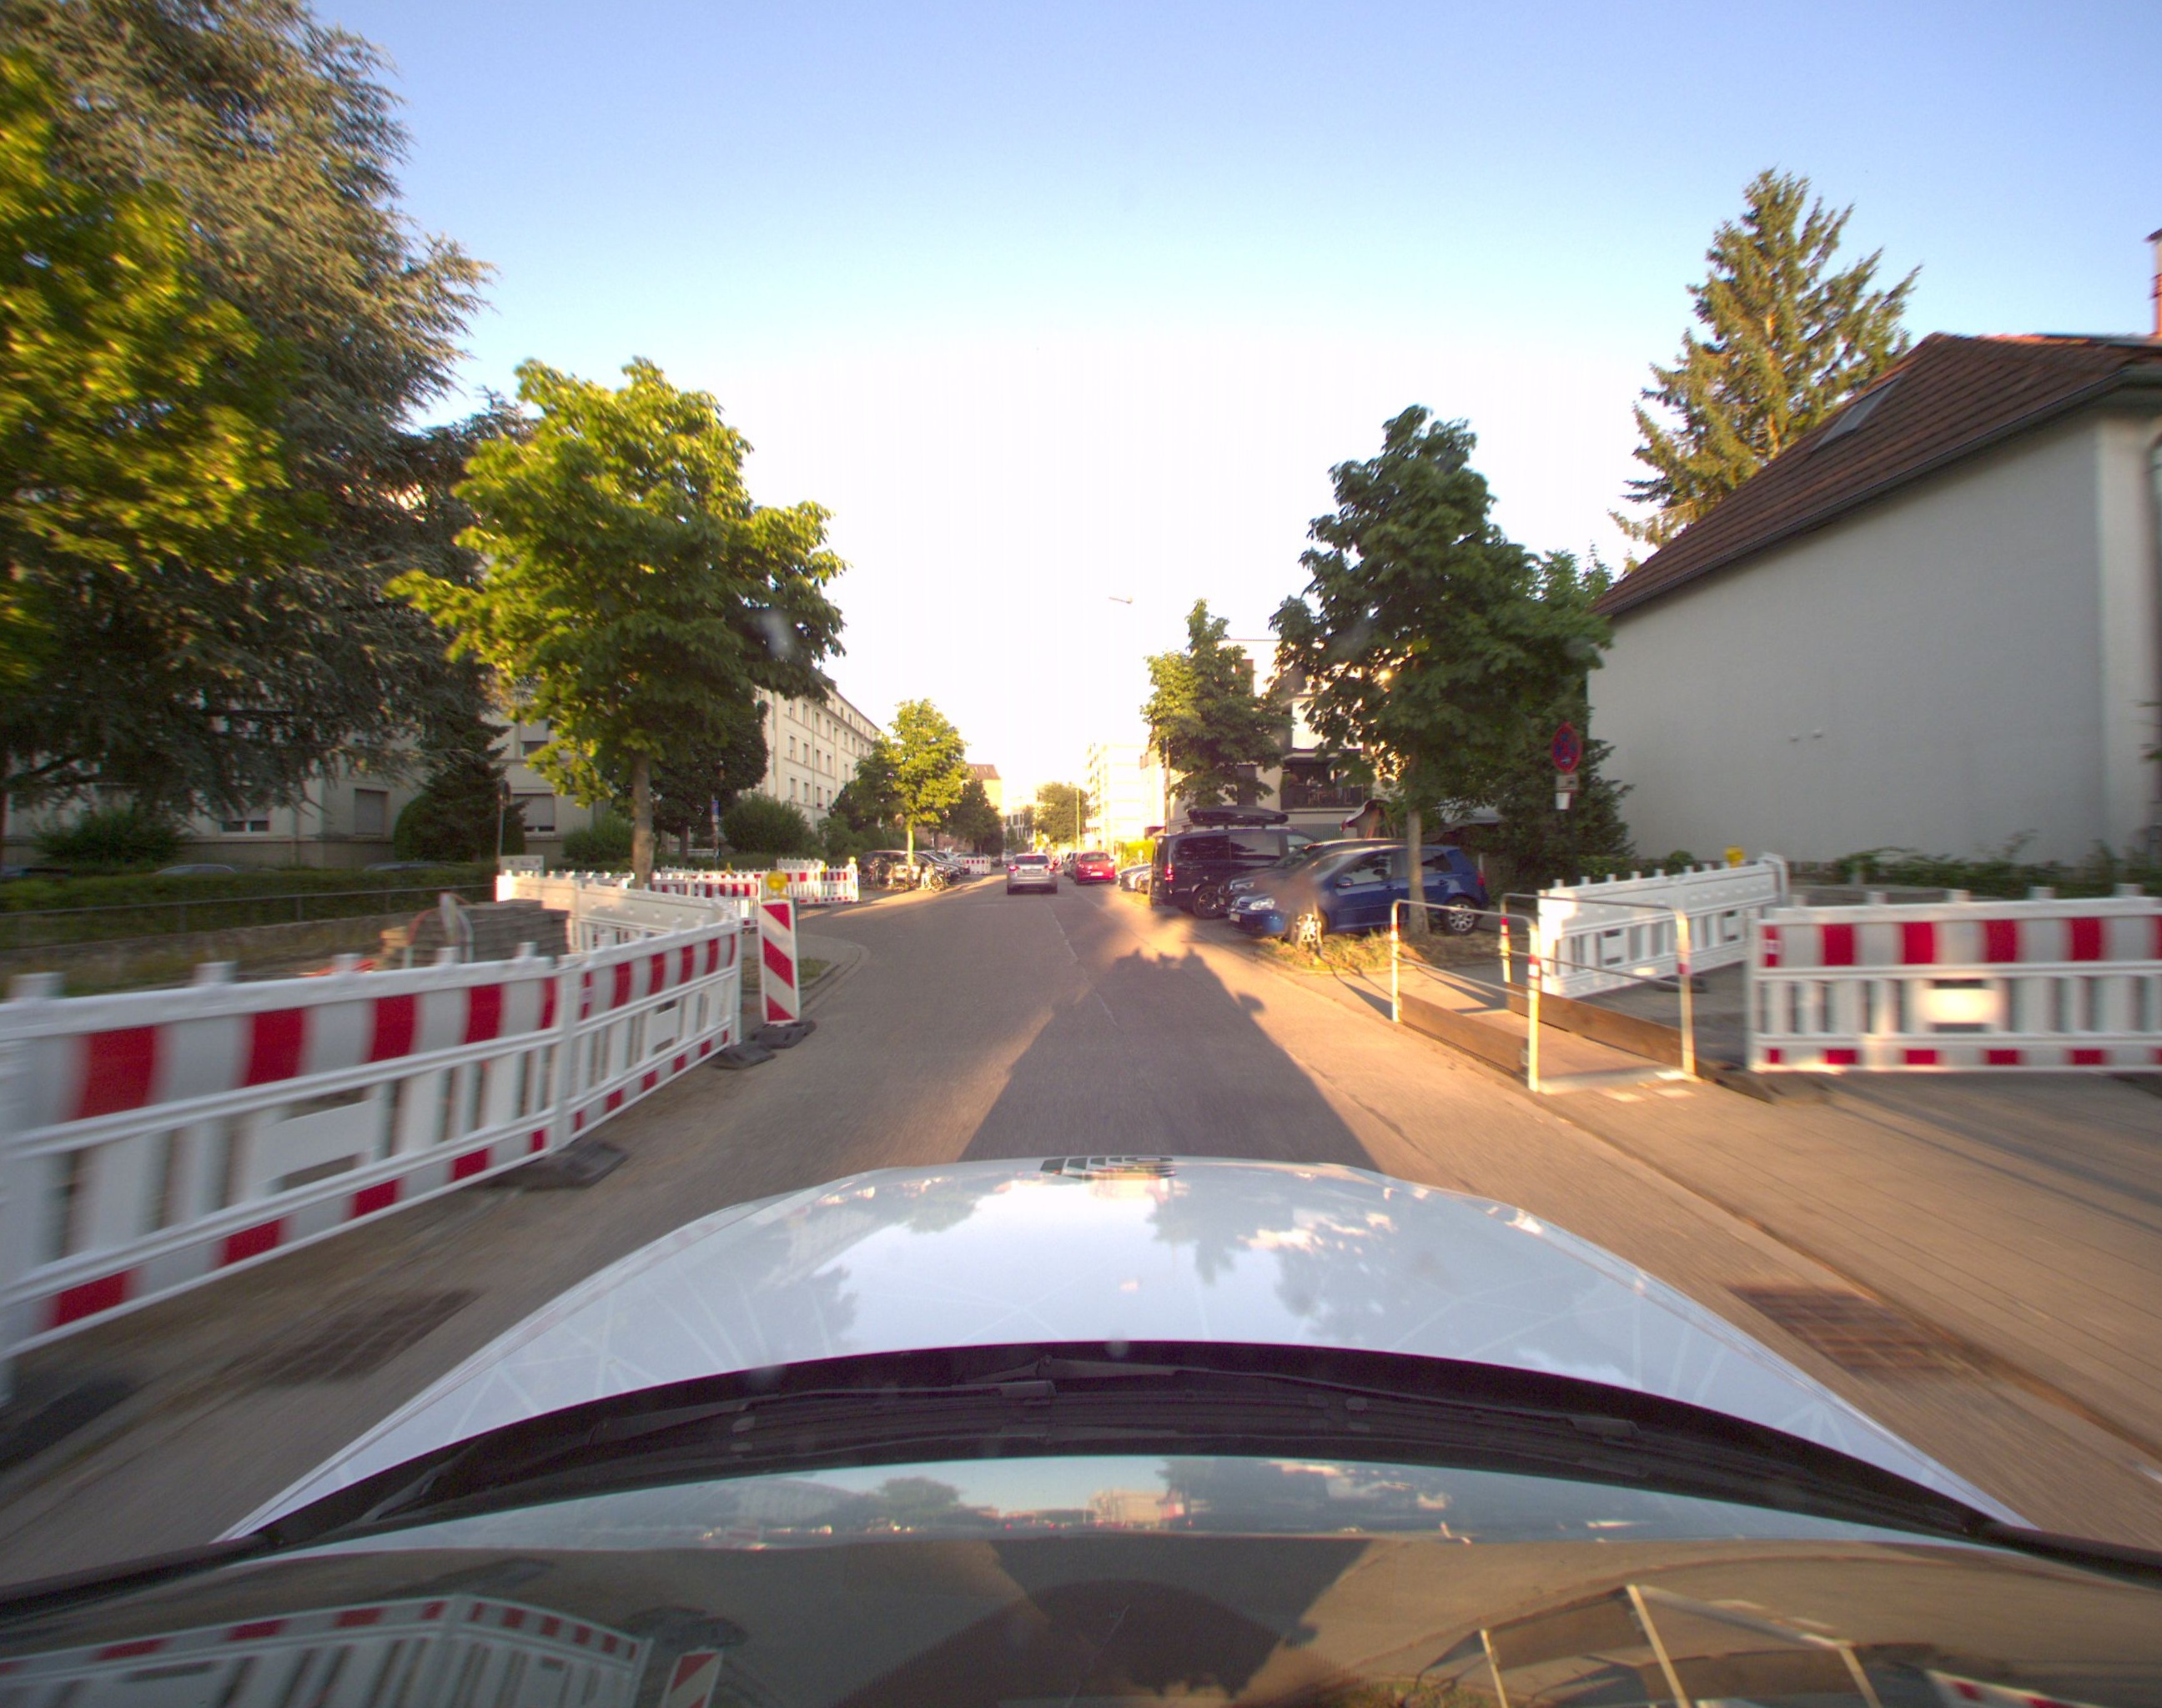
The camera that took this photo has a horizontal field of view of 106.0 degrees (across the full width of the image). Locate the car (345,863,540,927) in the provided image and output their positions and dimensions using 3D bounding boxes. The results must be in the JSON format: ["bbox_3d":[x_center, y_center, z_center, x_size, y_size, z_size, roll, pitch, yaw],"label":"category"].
[{"bbox_3d":[-17.078,1.060,21.962,3.704,1.589,1.757,0,0,-8],"label":"car"}]

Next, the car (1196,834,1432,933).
[{"bbox_3d":[4.430,0.517,15.860,3.982,1.768,1.996,0,0,-6],"label":"car"}]

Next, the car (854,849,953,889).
[{"bbox_3d":[-7.645,0.629,35.478,3.982,1.625,1.996,0,0,-6],"label":"car"}]

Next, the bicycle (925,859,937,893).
[{"bbox_3d":[-5.707,0.819,30.986,0.406,1.227,1.981,0,0,-9],"label":"bicycle"}]

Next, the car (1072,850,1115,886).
[{"bbox_3d":[0.510,0.592,36.139,1.726,1.483,3.554,0,0,-3],"label":"car"}]

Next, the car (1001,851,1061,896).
[{"bbox_3d":[-1.872,0.653,29.294,1.807,1.488,3.988,-1,0,-8],"label":"car"}]

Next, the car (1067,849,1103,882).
[{"bbox_3d":[0.189,0.558,41.694,1.660,1.573,3.437,0,0,-3],"label":"car"}]

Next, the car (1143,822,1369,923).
[{"bbox_3d":[3.841,0.365,18.395,4.552,2.023,2.096,-1,0,-7],"label":"car"}]

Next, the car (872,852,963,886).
[{"bbox_3d":[-7.561,0.664,38.031,3.982,1.480,1.996,0,0,-6],"label":"car"}]

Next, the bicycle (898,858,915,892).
[{"bbox_3d":[-6.624,0.783,30.930,0.405,1.227,1.983,0,0,-6],"label":"bicycle"}]

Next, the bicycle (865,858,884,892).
[{"bbox_3d":[-7.825,0.759,30.903,0.405,1.227,1.983,0,0,-6],"label":"bicycle"}]

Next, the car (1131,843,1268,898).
[{"bbox_3d":[3.707,0.492,25.833,3.938,1.649,1.970,0,0,-9],"label":"car"}]

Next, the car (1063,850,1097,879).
[{"bbox_3d":[-0.105,0.572,46.562,1.804,1.612,3.577,0,0,-3],"label":"car"}]

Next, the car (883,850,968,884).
[{"bbox_3d":[-7.712,0.625,40.698,3.982,1.605,1.869,0,0,-6],"label":"car"}]

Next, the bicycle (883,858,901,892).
[{"bbox_3d":[-7.170,0.773,30.909,0.405,1.227,1.983,0,0,-6],"label":"bicycle"}]

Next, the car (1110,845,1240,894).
[{"bbox_3d":[3.227,0.514,28.257,4.148,1.572,1.792,-1,0,-9],"label":"car"}]

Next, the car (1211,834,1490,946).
[{"bbox_3d":[4.304,0.523,13.279,3.986,1.651,1.759,0,0,-9],"label":"car"}]
